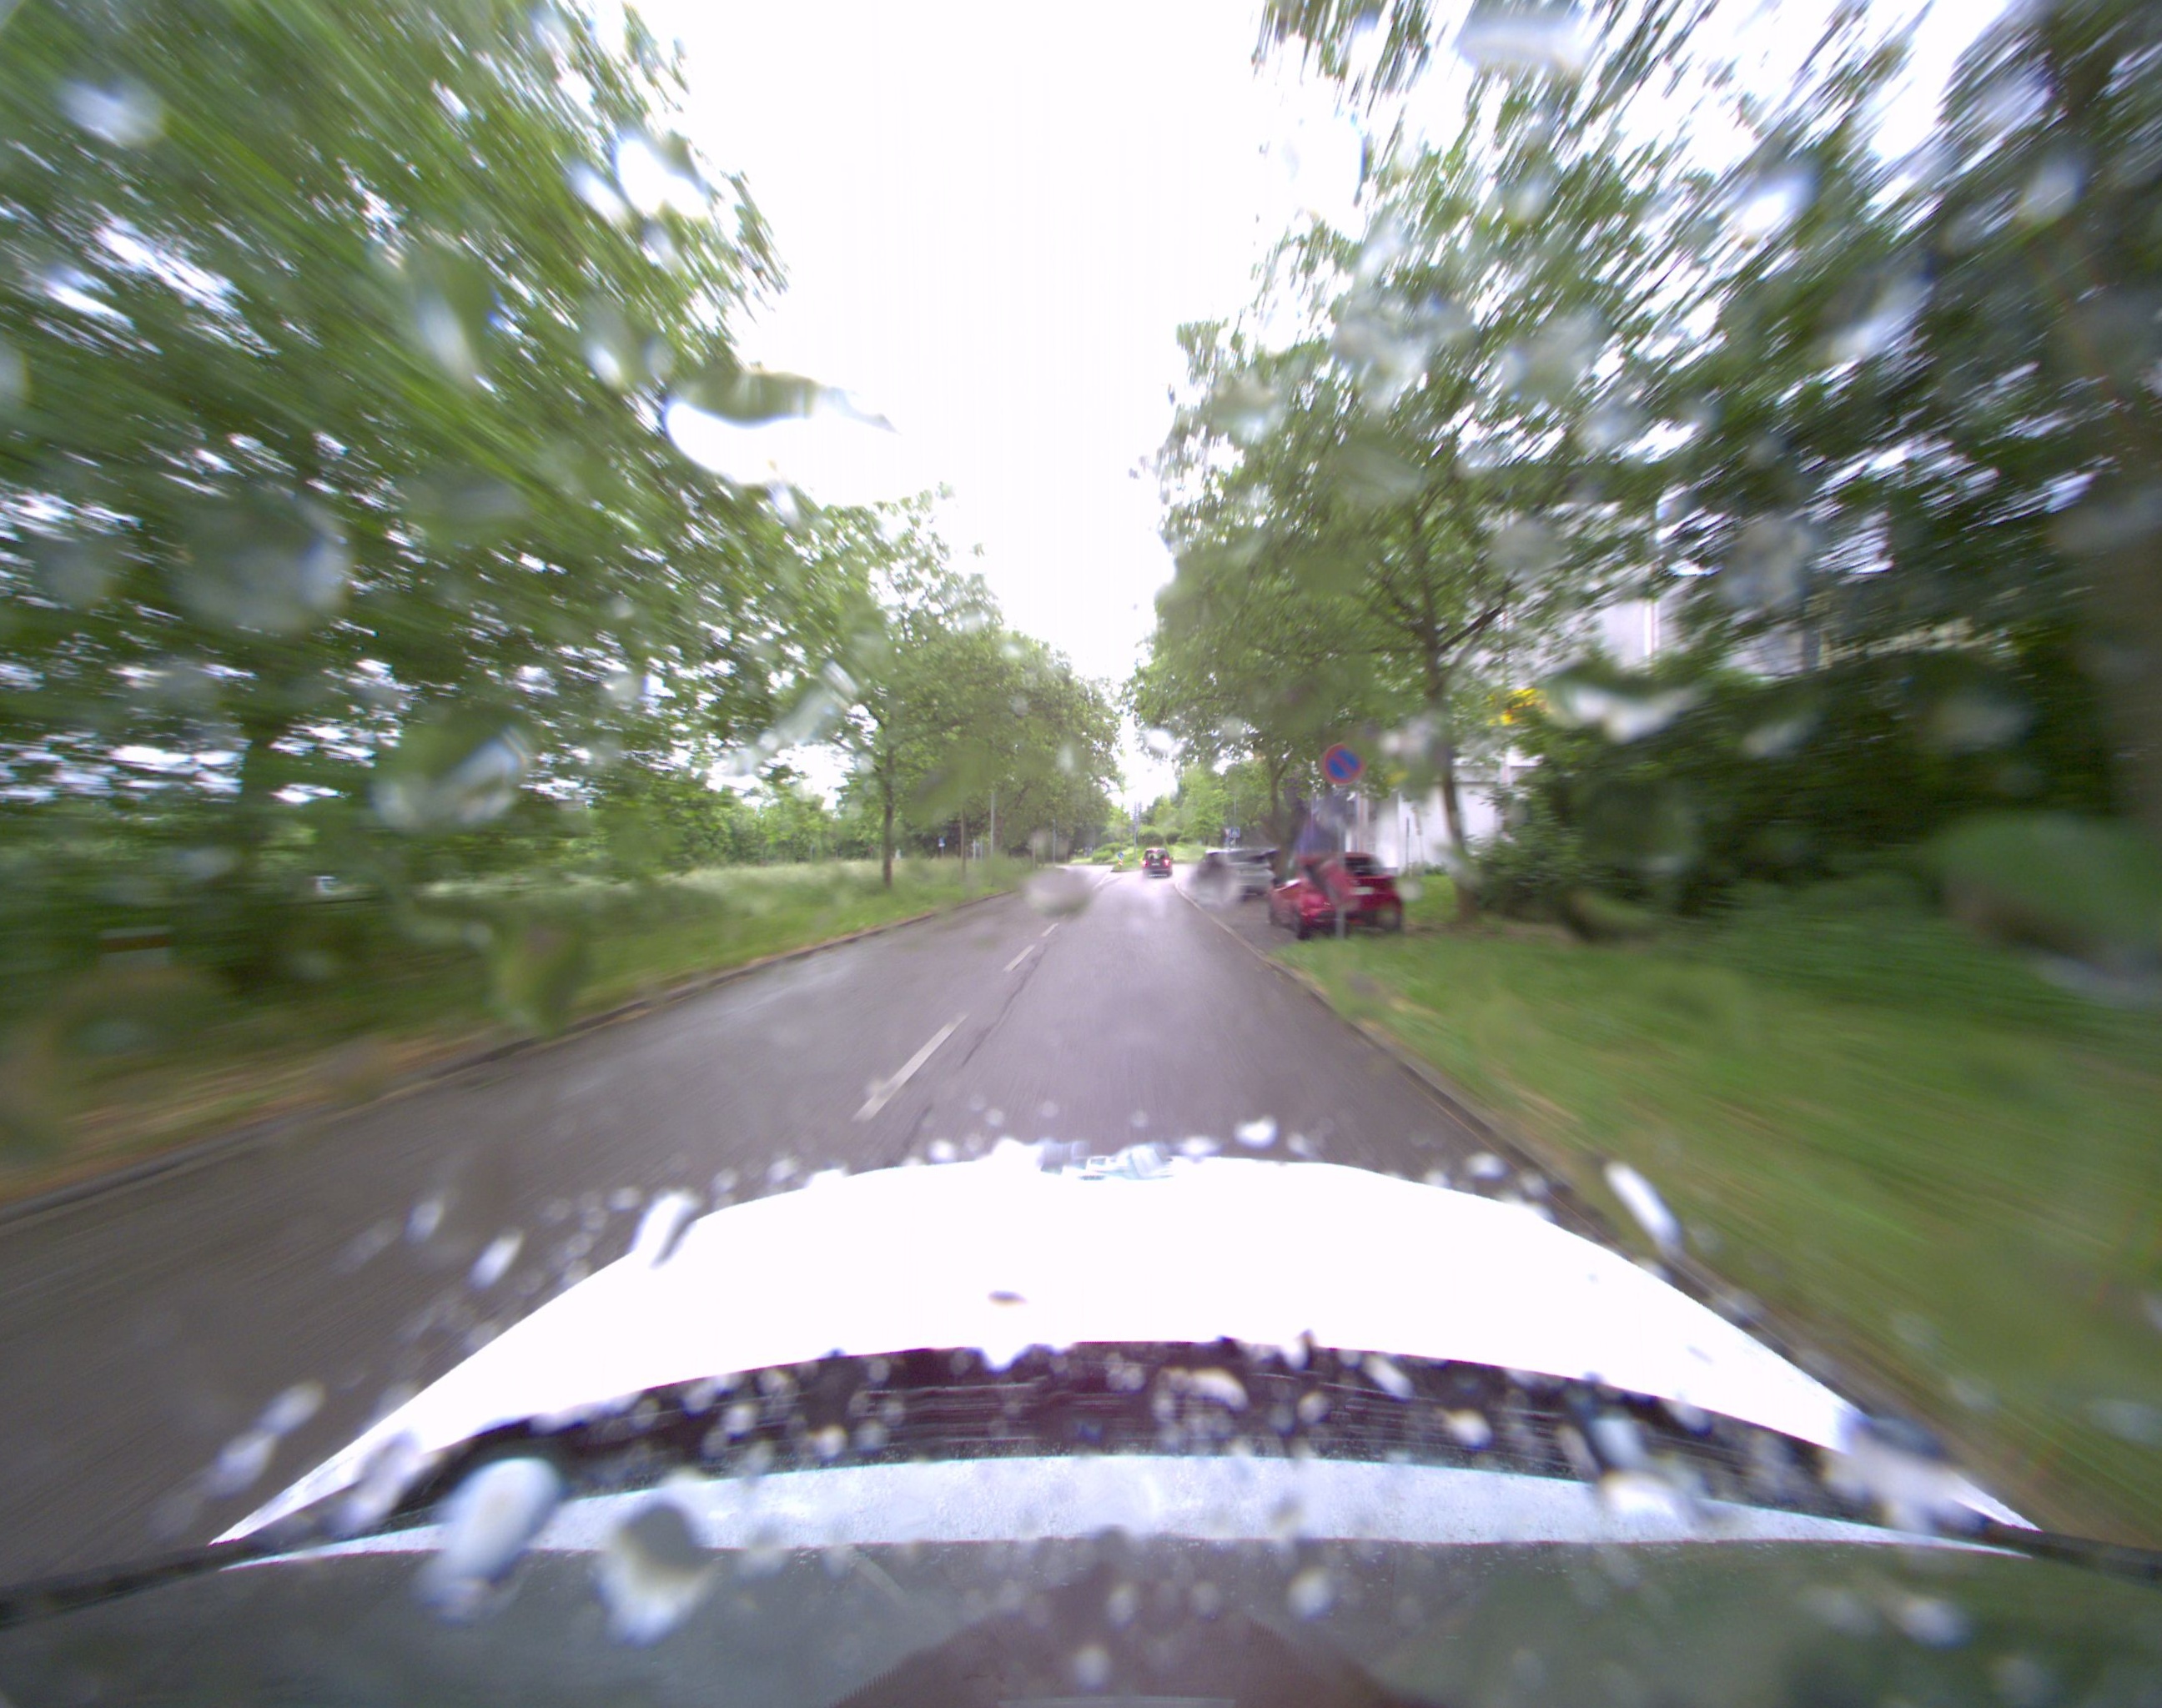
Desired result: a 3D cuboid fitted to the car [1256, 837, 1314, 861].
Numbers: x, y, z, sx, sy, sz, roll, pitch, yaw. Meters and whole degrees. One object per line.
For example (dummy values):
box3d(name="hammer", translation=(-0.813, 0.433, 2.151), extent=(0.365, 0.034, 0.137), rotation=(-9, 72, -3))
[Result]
box3d(name="car", translation=(16.164, -0.389, 64.689), extent=(4.350, 1.758, 1.835), rotation=(1, 2, 10))

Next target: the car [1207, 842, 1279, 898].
box3d(name="car", translation=(5.101, 0.480, 26.133), extent=(1.720, 1.591, 4.257), rotation=(-2, 0, 4))

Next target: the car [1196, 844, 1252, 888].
box3d(name="car", translation=(5.578, 0.461, 32.245), extent=(1.793, 1.602, 4.377), rotation=(-1, 0, 5))

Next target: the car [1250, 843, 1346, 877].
box3d(name="car", translation=(10.822, 0.288, 40.882), extent=(4.448, 1.680, 1.770), rotation=(0, 1, 5))

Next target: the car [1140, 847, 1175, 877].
box3d(name="car", translation=(4.996, 0.503, 52.891), extent=(1.907, 1.801, 3.799), rotation=(-3, 0, 9))

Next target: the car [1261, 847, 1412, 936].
box3d(name="car", translation=(4.482, 0.601, 14.875), extent=(1.789, 1.372, 3.748), rotation=(-1, 0, 4))
